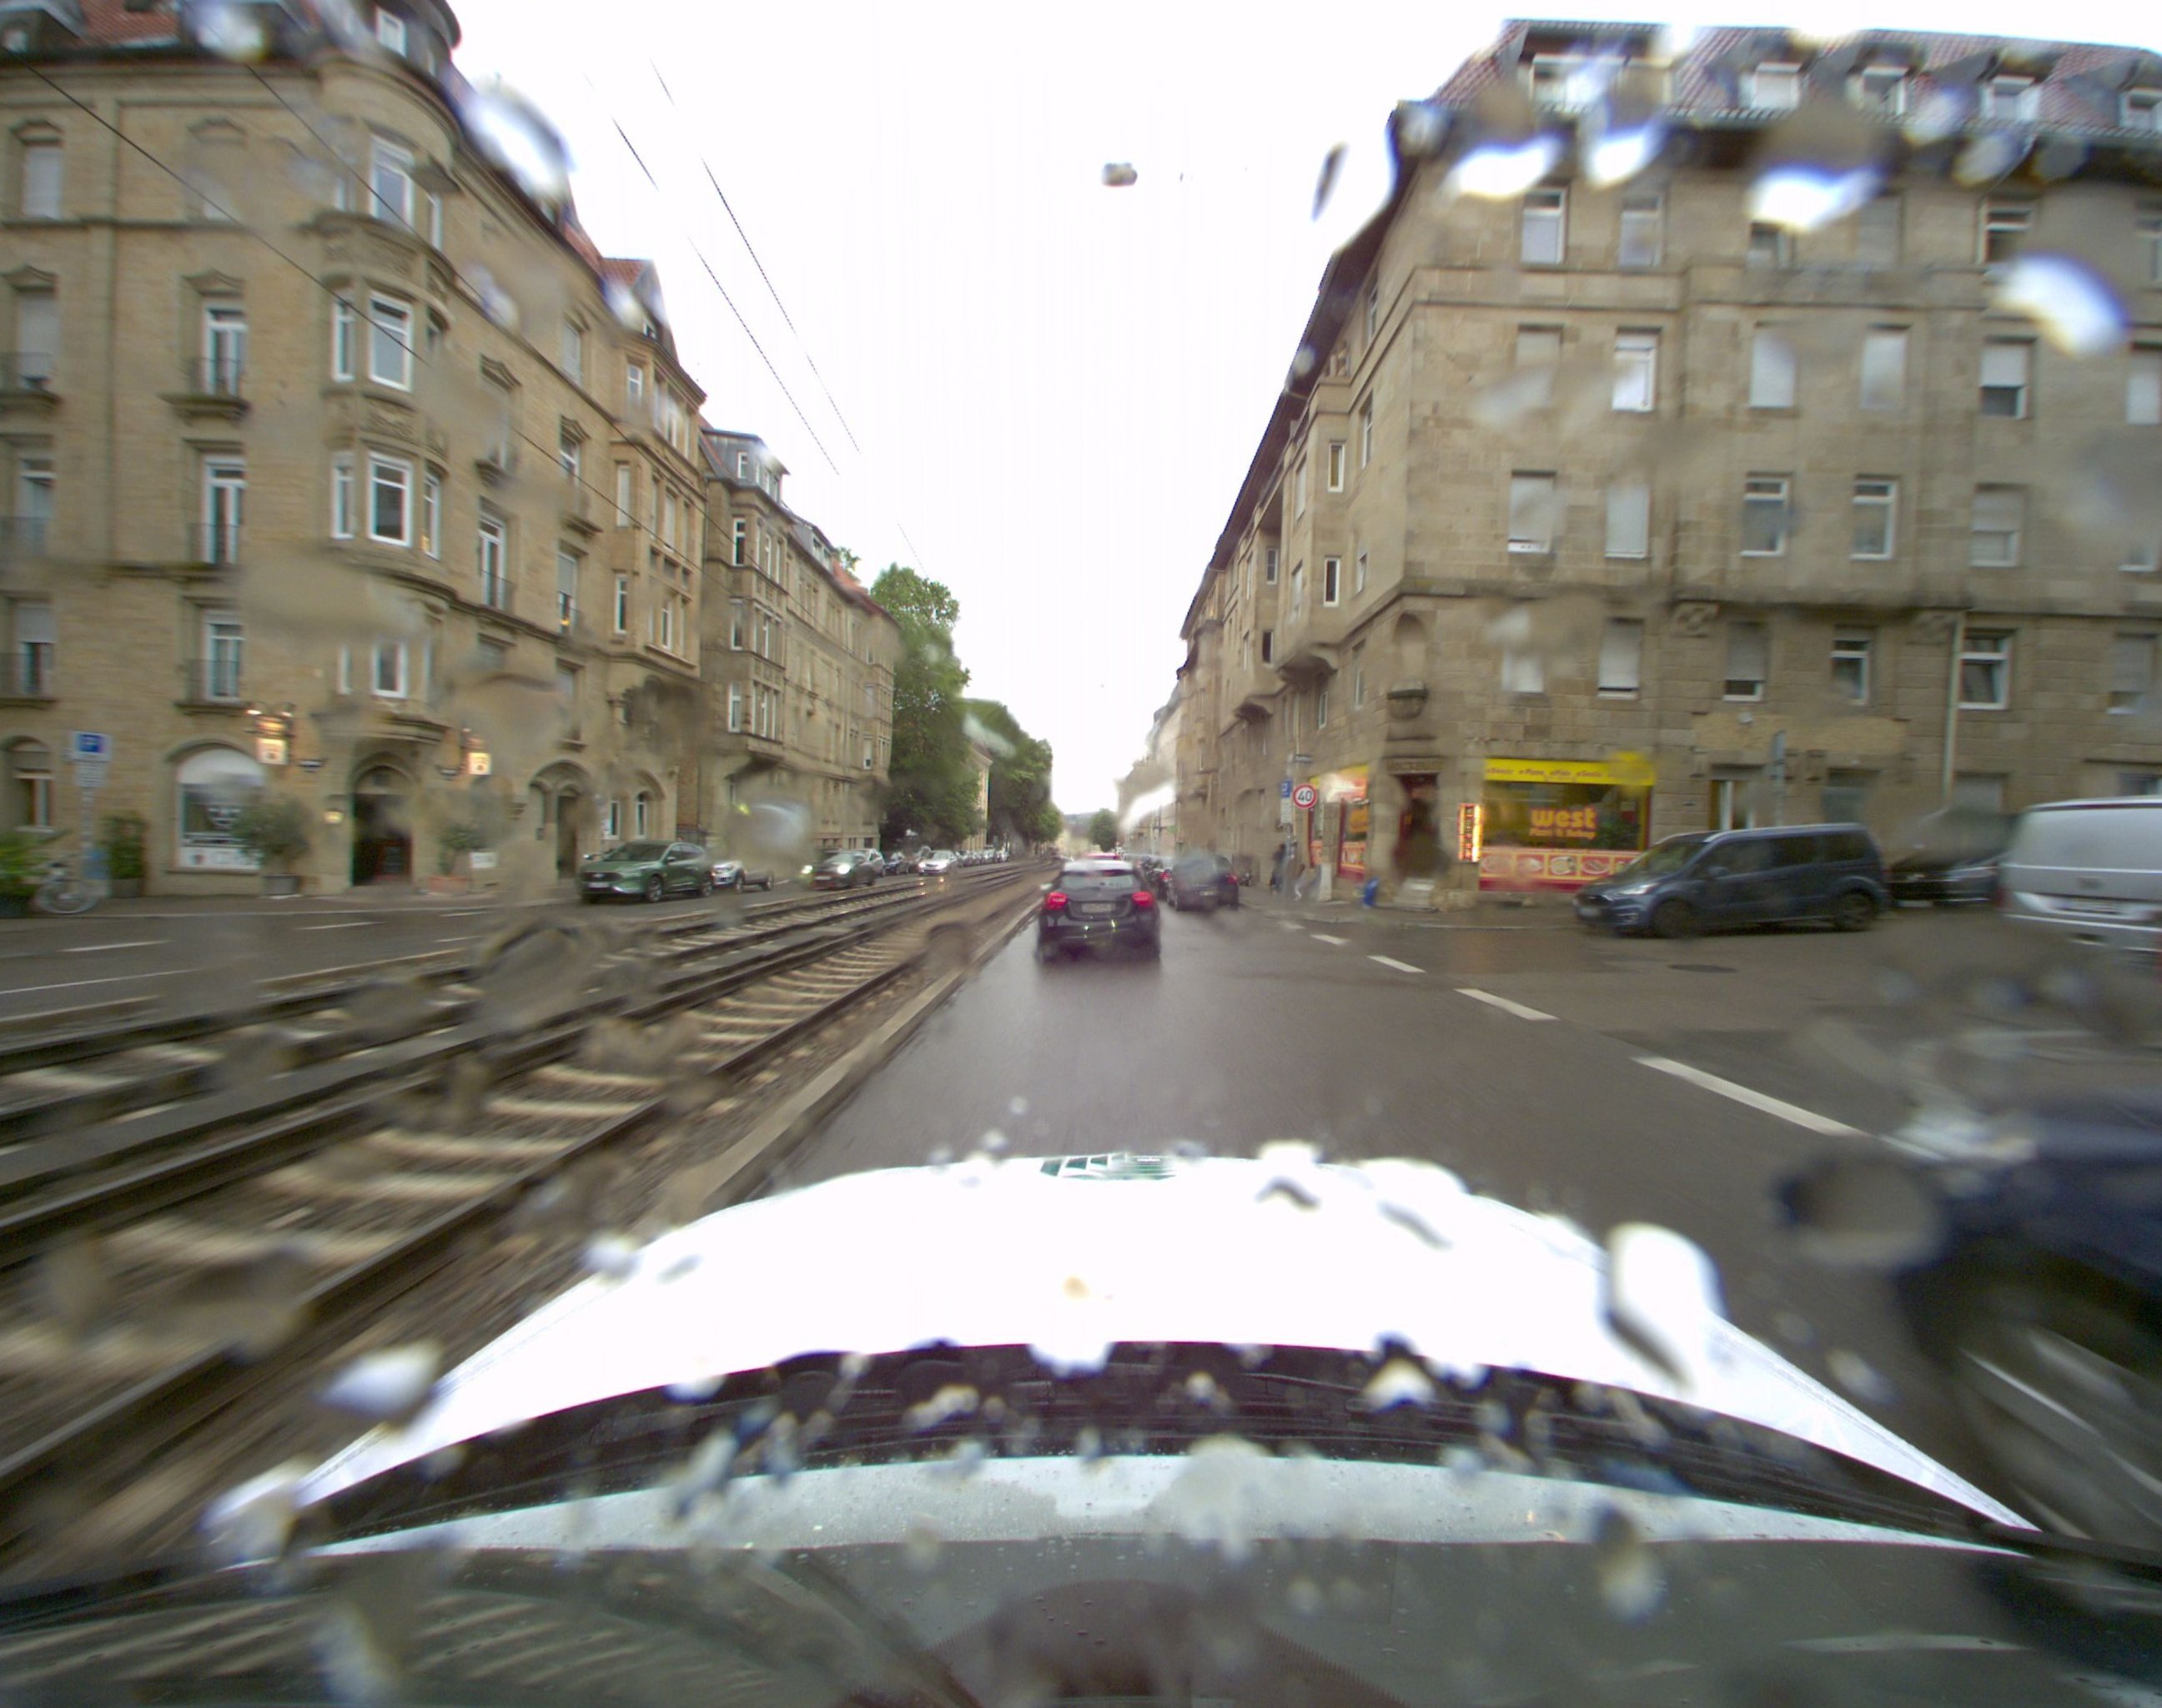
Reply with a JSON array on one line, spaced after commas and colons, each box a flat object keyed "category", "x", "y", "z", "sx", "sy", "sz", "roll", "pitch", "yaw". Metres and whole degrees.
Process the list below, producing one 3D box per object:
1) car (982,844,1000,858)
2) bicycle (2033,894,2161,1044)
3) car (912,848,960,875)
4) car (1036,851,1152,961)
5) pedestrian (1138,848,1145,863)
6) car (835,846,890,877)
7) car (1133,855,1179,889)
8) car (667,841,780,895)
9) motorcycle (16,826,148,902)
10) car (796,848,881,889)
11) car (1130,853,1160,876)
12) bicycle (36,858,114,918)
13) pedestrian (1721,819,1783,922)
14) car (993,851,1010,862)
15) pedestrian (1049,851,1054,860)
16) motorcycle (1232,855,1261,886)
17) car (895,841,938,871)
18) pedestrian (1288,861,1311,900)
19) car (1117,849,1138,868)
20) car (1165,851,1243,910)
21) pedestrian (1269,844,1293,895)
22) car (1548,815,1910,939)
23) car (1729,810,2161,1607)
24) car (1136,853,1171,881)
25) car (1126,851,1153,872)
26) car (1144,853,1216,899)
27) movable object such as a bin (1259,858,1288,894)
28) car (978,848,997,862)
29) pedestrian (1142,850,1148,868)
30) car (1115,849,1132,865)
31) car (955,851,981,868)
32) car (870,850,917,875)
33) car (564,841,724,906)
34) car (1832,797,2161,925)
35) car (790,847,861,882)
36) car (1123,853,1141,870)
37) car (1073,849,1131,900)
[{"category": "car", "x": -10.421, "y": -0.319, "z": 94.595, "sx": 1.534, "sy": 1.505, "sz": 4.154, "roll": -1, "pitch": 0, "yaw": 0}, {"category": "bicycle", "x": 7.885, "y": 0.800, "z": 5.716, "sx": 1.742, "sy": 0.973, "sz": 0.533, "roll": 1, "pitch": 0, "yaw": 2}, {"category": "car", "x": -8.225, "y": 0.395, "z": 46.581, "sx": 1.975, "sy": 1.457, "sz": 4.294, "roll": 0, "pitch": 0, "yaw": 0}, {"category": "car", "x": 0.209, "y": 0.717, "z": 13.041, "sx": 1.575, "sy": 1.505, "sz": 3.575, "roll": 1, "pitch": 0, "yaw": 1}, {"category": "pedestrian", "x": 7.178, "y": 0.171, "z": 96.585, "sx": 0.743, "sy": 1.833, "sz": 1.039, "roll": -2, "pitch": 0, "yaw": 2}, {"category": "car", "x": -11.360, "y": 0.354, "z": 42.597, "sx": 1.688, "sy": 1.524, "sz": 3.856, "roll": 0, "pitch": 0, "yaw": 2}, {"category": "car", "x": 3.482, "y": 0.814, "z": 38.372, "sx": 1.782, "sy": 1.462, "sz": 4.083, "roll": 0, "pitch": 0, "yaw": 0}, {"category": "car", "x": -11.770, "y": 0.420, "z": 27.157, "sx": 1.852, "sy": 1.652, "sz": 4.315, "roll": 0, "pitch": 0, "yaw": 0}, {"category": "motorcycle", "x": -21.891, "y": 0.209, "z": 17.866, "sx": 2.069, "sy": 1.619, "sz": 0.623, "roll": -1, "pitch": 0, "yaw": -2}, {"category": "car", "x": -8.646, "y": 0.493, "z": 29.376, "sx": 1.697, "sy": 1.387, "sz": 3.785, "roll": 0, "pitch": 0, "yaw": 4}, {"category": "car", "x": 4.061, "y": 0.654, "z": 52.366, "sx": 1.586, "sy": 1.434, "sz": 3.682, "roll": 0, "pitch": 0, "yaw": -1}, {"category": "bicycle", "x": -19.820, "y": 0.654, "z": 16.039, "sx": 2.109, "sy": 1.119, "sz": 0.624, "roll": -1, "pitch": 0, "yaw": 30}, {"category": "pedestrian", "x": 13.422, "y": 0.312, "z": 16.311, "sx": 0.623, "sy": 2.013, "sz": 0.757, "roll": -1, "pitch": 2, "yaw": 2}, {"category": "car", "x": -10.039, "y": 0.316, "z": 102.745, "sx": 1.494, "sy": 1.391, "sz": 3.990, "roll": -1, "pitch": 0, "yaw": 2}, {"category": "pedestrian", "x": -5.189, "y": 0.217, "z": 145.217, "sx": 0.803, "sy": 1.633, "sz": 0.892, "roll": -1, "pitch": 0, "yaw": 2}, {"category": "motorcycle", "x": 6.855, "y": 0.656, "z": 33.784, "sx": 0.702, "sy": 1.199, "sz": 2.746, "roll": 1, "pitch": 0, "yaw": 1}, {"category": "car", "x": -10.973, "y": 0.119, "z": 54.623, "sx": 1.794, "sy": 1.846, "sz": 4.819, "roll": -1, "pitch": 0, "yaw": 1}, {"category": "pedestrian", "x": 6.169, "y": 0.741, "z": 23.011, "sx": 0.509, "sy": 1.050, "sz": 0.627, "roll": 1, "pitch": 0, "yaw": 1}, {"category": "car", "x": 4.469, "y": 0.418, "z": 78.443, "sx": 1.785, "sy": 1.765, "sz": 4.212, "roll": 0, "pitch": 0, "yaw": 1}, {"category": "car", "x": 3.284, "y": 0.652, "z": 22.310, "sx": 1.665, "sy": 1.444, "sz": 3.792, "roll": -1, "pitch": 0, "yaw": 2}, {"category": "pedestrian", "x": 6.150, "y": 0.474, "z": 25.044, "sx": 0.559, "sy": 1.535, "sz": 0.710, "roll": 1, "pitch": 0, "yaw": 1}, {"category": "car", "x": 11.160, "y": 0.377, "z": 14.305, "sx": 4.762, "sy": 1.861, "sz": 2.000, "roll": -2, "pitch": 0, "yaw": 0}, {"category": "car", "x": 2.897, "y": 0.651, "z": 0.541, "sx": 1.687, "sy": 1.482, "sz": 3.925, "roll": -1, "pitch": 0, "yaw": -3}, {"category": "car", "x": 3.770, "y": 0.671, "z": 42.918, "sx": 1.539, "sy": 1.415, "sz": 3.446, "roll": 0, "pitch": 0, "yaw": 0}, {"category": "car", "x": 4.125, "y": 0.511, "z": 57.577, "sx": 1.662, "sy": 1.434, "sz": 3.956, "roll": 0, "pitch": 0, "yaw": 0}, {"category": "car", "x": 3.249, "y": 0.693, "z": 27.586, "sx": 1.750, "sy": 1.387, "sz": 4.482, "roll": -1, "pitch": 0, "yaw": -2}, {"category": "movable object such as a bin", "x": 6.136, "y": 0.700, "z": 26.004, "sx": 0.663, "sy": 1.103, "sz": 1.124, "roll": 1, "pitch": 0, "yaw": 1}, {"category": "car", "x": -10.060, "y": 0.080, "z": 87.545, "sx": 1.534, "sy": 1.413, "sz": 3.953, "roll": -1, "pitch": 0, "yaw": 0}, {"category": "pedestrian", "x": 6.551, "y": 0.501, "z": 83.219, "sx": 0.605, "sy": 1.763, "sz": 0.688, "roll": -1, "pitch": 0, "yaw": 0}, {"category": "car", "x": 4.874, "y": 0.345, "z": 93.366, "sx": 1.821, "sy": 1.750, "sz": 4.470, "roll": 1, "pitch": 0, "yaw": 3}, {"category": "car", "x": -10.565, "y": 0.499, "z": 76.248, "sx": 1.748, "sy": 1.536, "sz": 4.543, "roll": -1, "pitch": 0, "yaw": 0}, {"category": "car", "x": -11.056, "y": 0.476, "z": 48.266, "sx": 1.756, "sy": 1.398, "sz": 4.269, "roll": -1, "pitch": 0, "yaw": 0}, {"category": "car", "x": -11.859, "y": 0.475, "z": 22.492, "sx": 1.851, "sy": 1.602, "sz": 4.433, "roll": 0, "pitch": 0, "yaw": 3}, {"category": "car", "x": 16.611, "y": 0.117, "z": 14.398, "sx": 4.688, "sy": 1.926, "sz": 2.000, "roll": -3, "pitch": -2, "yaw": 1}, {"category": "car", "x": -11.673, "y": 0.454, "z": 37.519, "sx": 1.864, "sy": 1.508, "sz": 4.170, "roll": 0, "pitch": 0, "yaw": 1}, {"category": "car", "x": 4.632, "y": 0.660, "z": 74.271, "sx": 1.564, "sy": 1.462, "sz": 3.601, "roll": 0, "pitch": 0, "yaw": 2}, {"category": "car", "x": 0.708, "y": 0.651, "z": 27.529, "sx": 1.779, "sy": 1.581, "sz": 4.001, "roll": 1, "pitch": 0, "yaw": 1}]
